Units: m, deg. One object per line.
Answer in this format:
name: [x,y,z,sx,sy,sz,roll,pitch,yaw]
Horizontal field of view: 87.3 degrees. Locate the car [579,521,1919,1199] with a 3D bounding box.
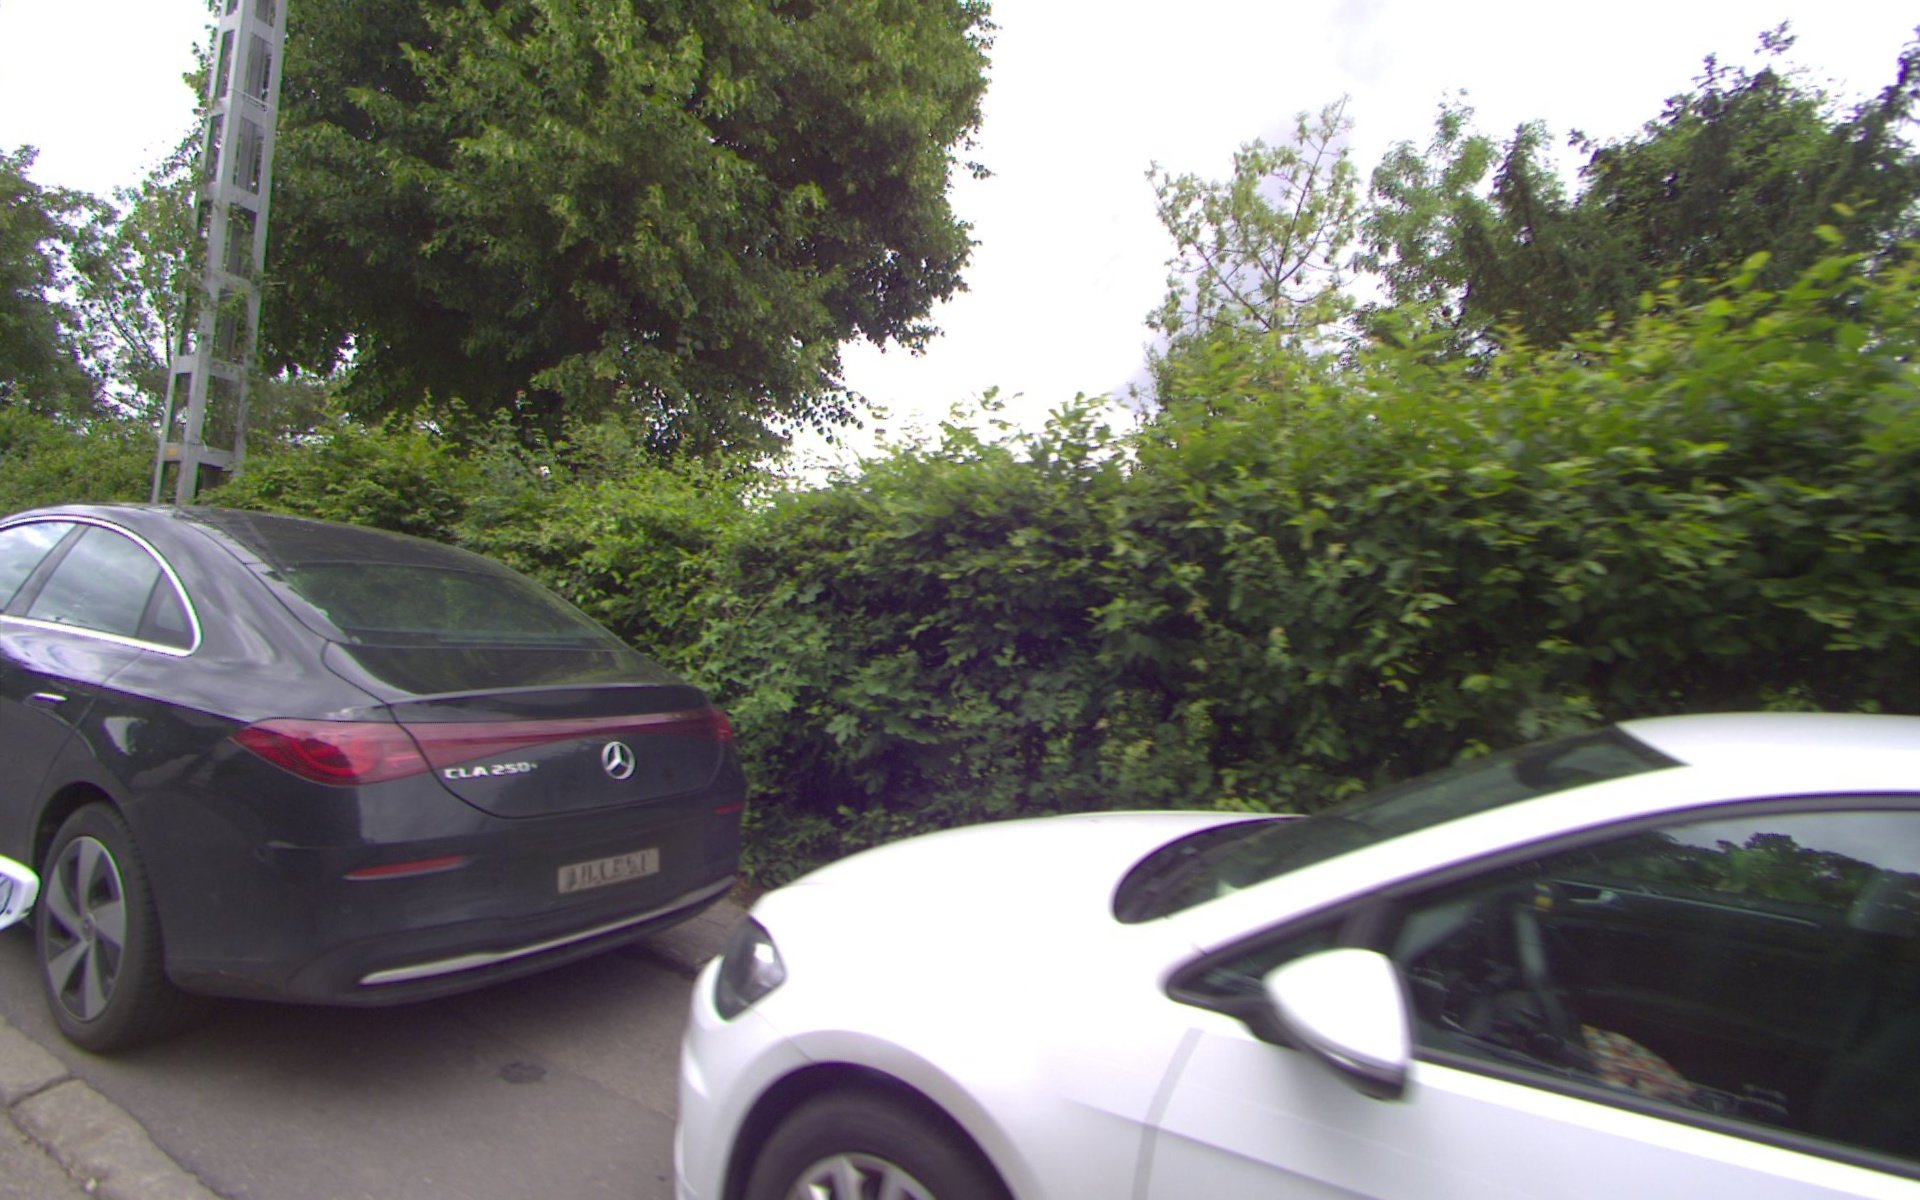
car: [1.351,0.825,1.679,3.771,1.482,1.702,6,0,32]

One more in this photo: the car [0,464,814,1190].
car: [-3.009,0.340,3.979,4.583,1.482,1.704,7,0,28]
